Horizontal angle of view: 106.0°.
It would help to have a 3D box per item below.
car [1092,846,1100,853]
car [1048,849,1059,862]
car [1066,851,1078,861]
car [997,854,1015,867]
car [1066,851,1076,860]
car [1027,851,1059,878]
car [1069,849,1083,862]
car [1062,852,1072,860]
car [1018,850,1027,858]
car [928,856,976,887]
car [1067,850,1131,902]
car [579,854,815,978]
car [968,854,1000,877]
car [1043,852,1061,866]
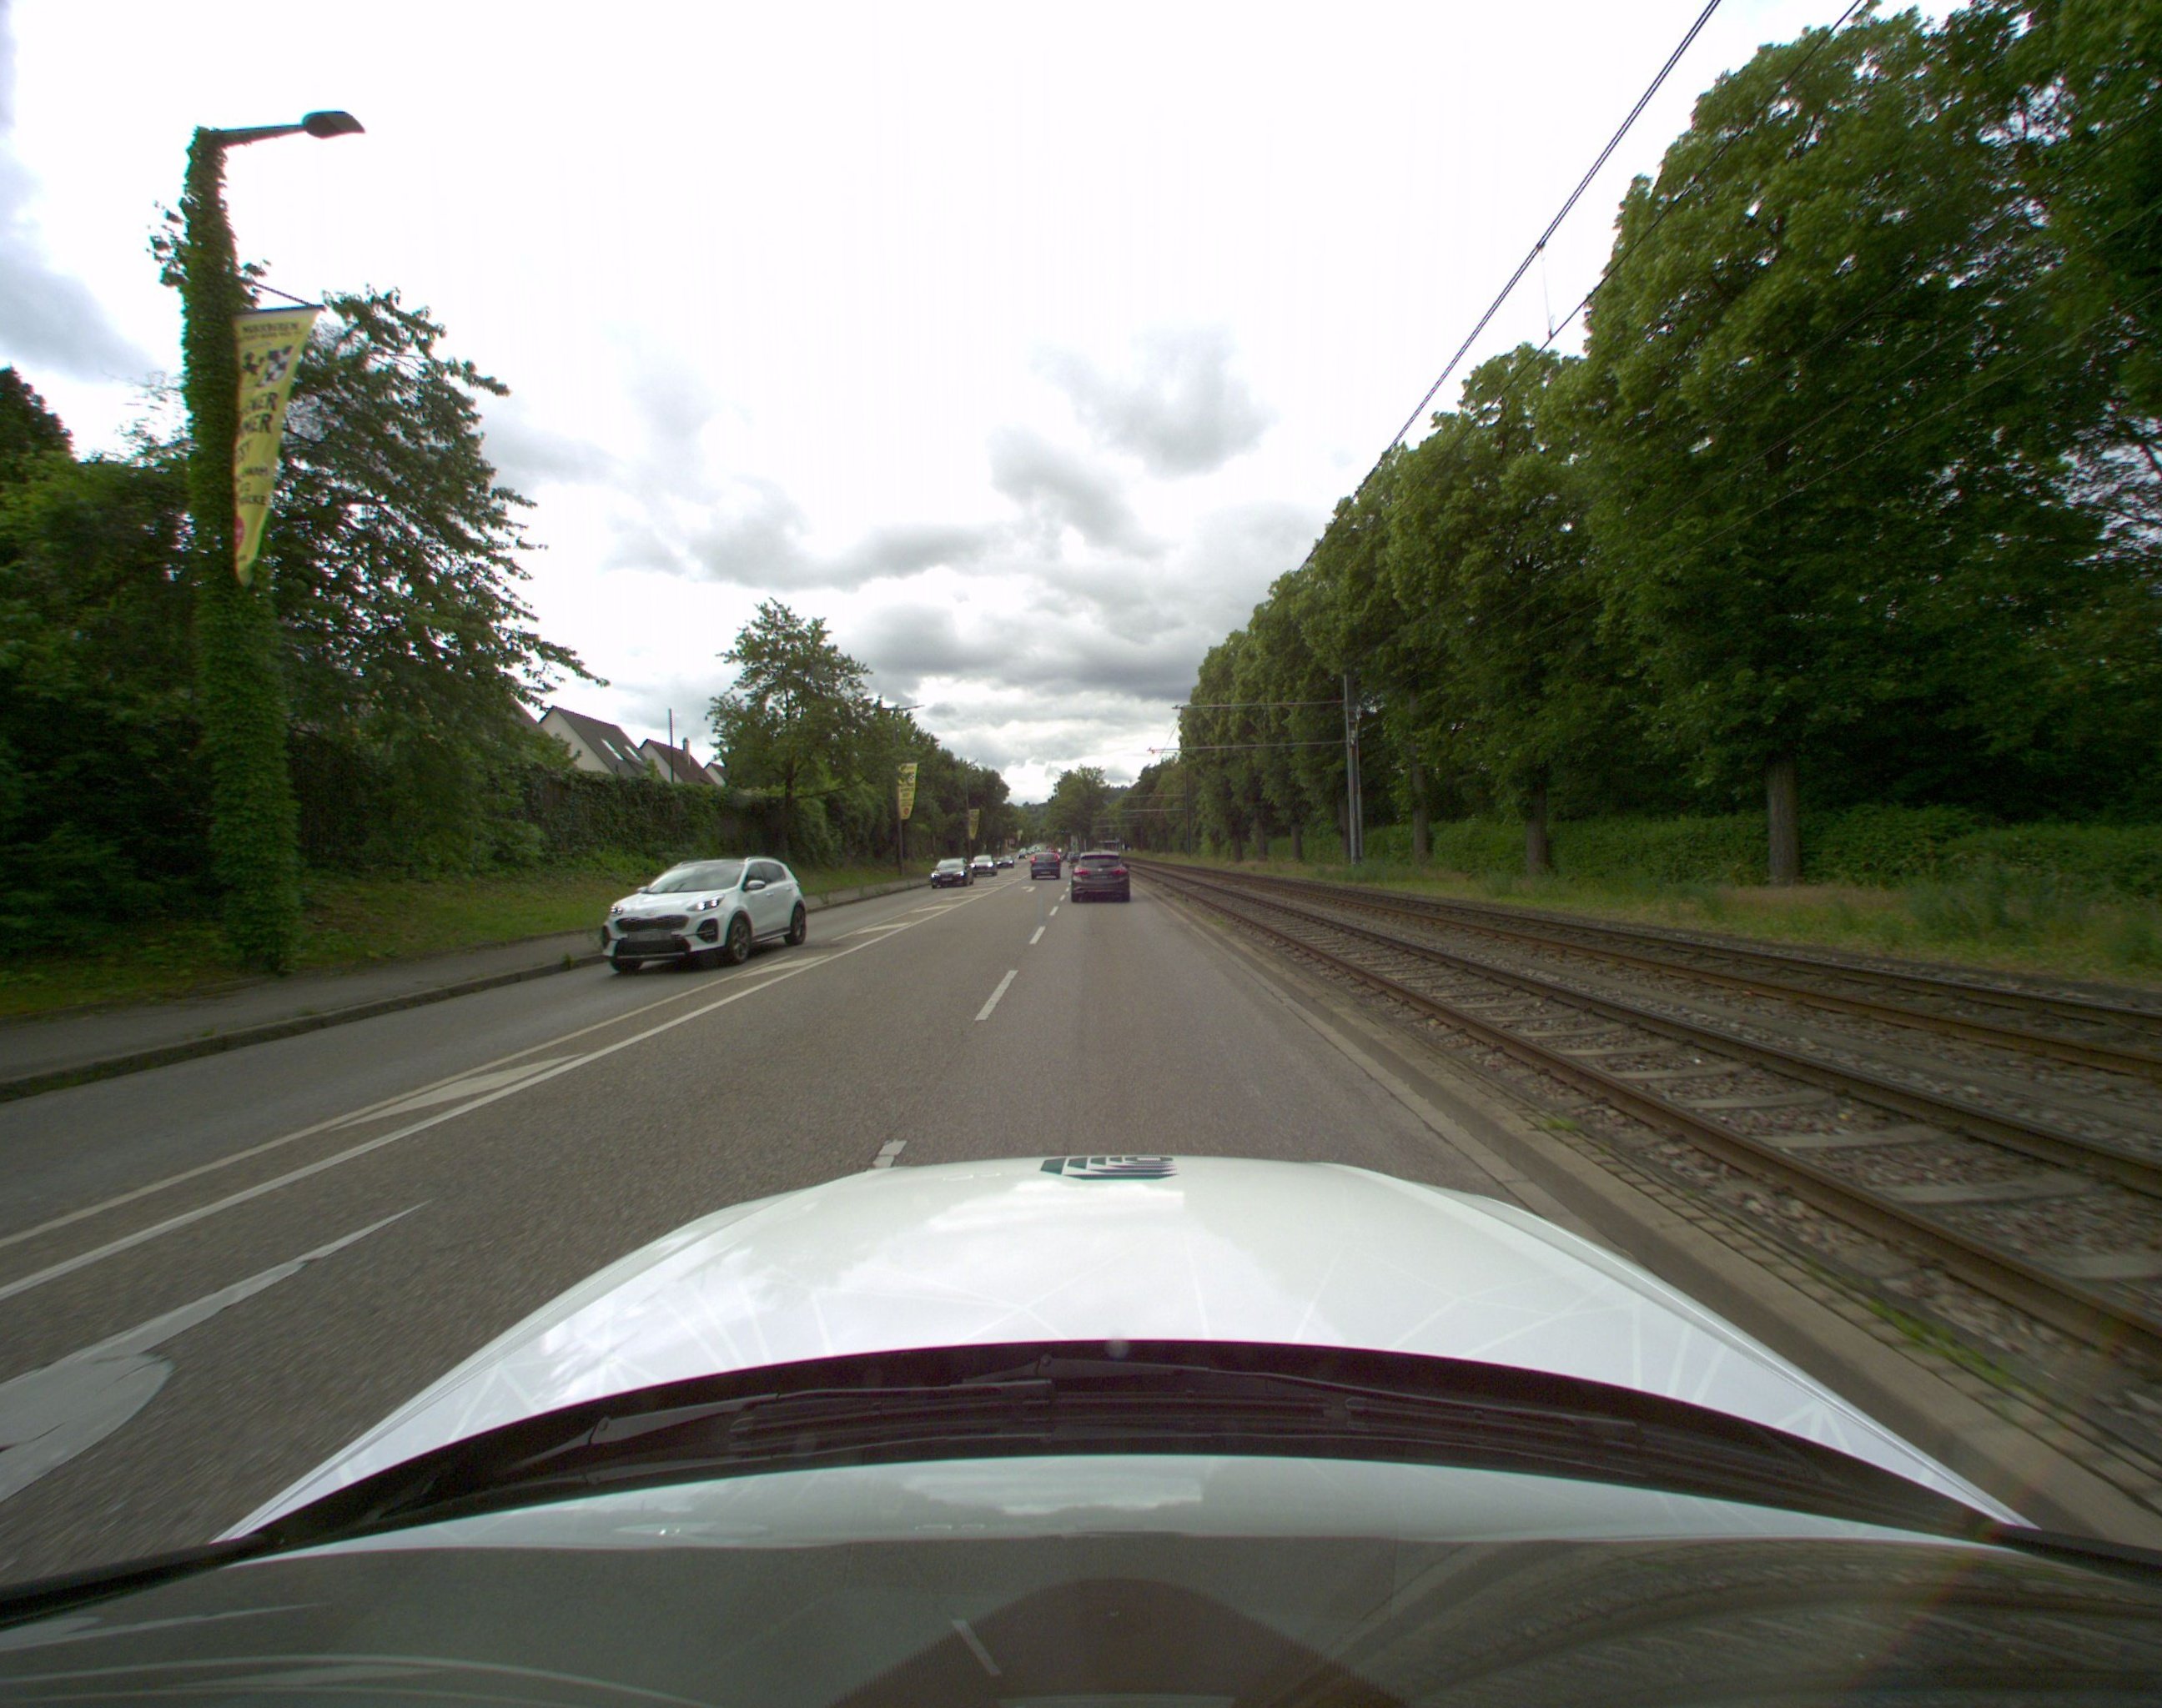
[{"bbox_3d":[3.681,-1.185,203.781,1.710,1.663,3.705,-1,0,-2],"label":"car"},{"bbox_3d":[-4.165,0.199,123.572,1.711,1.864,3.997,-1,0,-2],"label":"car"},{"bbox_3d":[-1.297,0.331,123.829,1.709,1.550,4.000,-1,0,0],"label":"car"},{"bbox_3d":[-8.413,0.717,91.505,1.837,1.375,4.442,-4,0,-3],"label":"car"},{"bbox_3d":[-1.826,0.334,145.113,1.709,1.550,4.000,-1,0,0],"label":"car"},{"bbox_3d":[-2.109,0.556,46.226,1.695,1.443,3.998,-1,0,-2],"label":"car"},{"bbox_3d":[-0.567,0.199,104.236,1.709,1.550,4.000,-1,0,0],"label":"car"},{"bbox_3d":[-2.615,0.357,155.718,1.709,1.550,4.000,-1,0,0],"label":"car"},{"bbox_3d":[-12.687,0.061,177.119,1.710,1.760,3.997,-1,0,-2],"label":"car"},{"bbox_3d":[-6.511,0.844,41.514,1.761,1.400,4.214,-4,0,-1],"label":"car"},{"bbox_3d":[0.576,0.625,25.610,1.844,1.493,4.001,-1,0,1],"label":"car"},{"bbox_3d":[-6.016,0.854,13.410,1.836,1.620,4.158,-3,0,0],"label":"car"},{"bbox_3d":[-7.077,0.810,59.504,1.821,1.457,4.140,-4,0,-1],"label":"car"},{"bbox_3d":[-3.094,0.522,87.924,1.709,1.435,4.000,-1,0,0],"label":"car"}]
